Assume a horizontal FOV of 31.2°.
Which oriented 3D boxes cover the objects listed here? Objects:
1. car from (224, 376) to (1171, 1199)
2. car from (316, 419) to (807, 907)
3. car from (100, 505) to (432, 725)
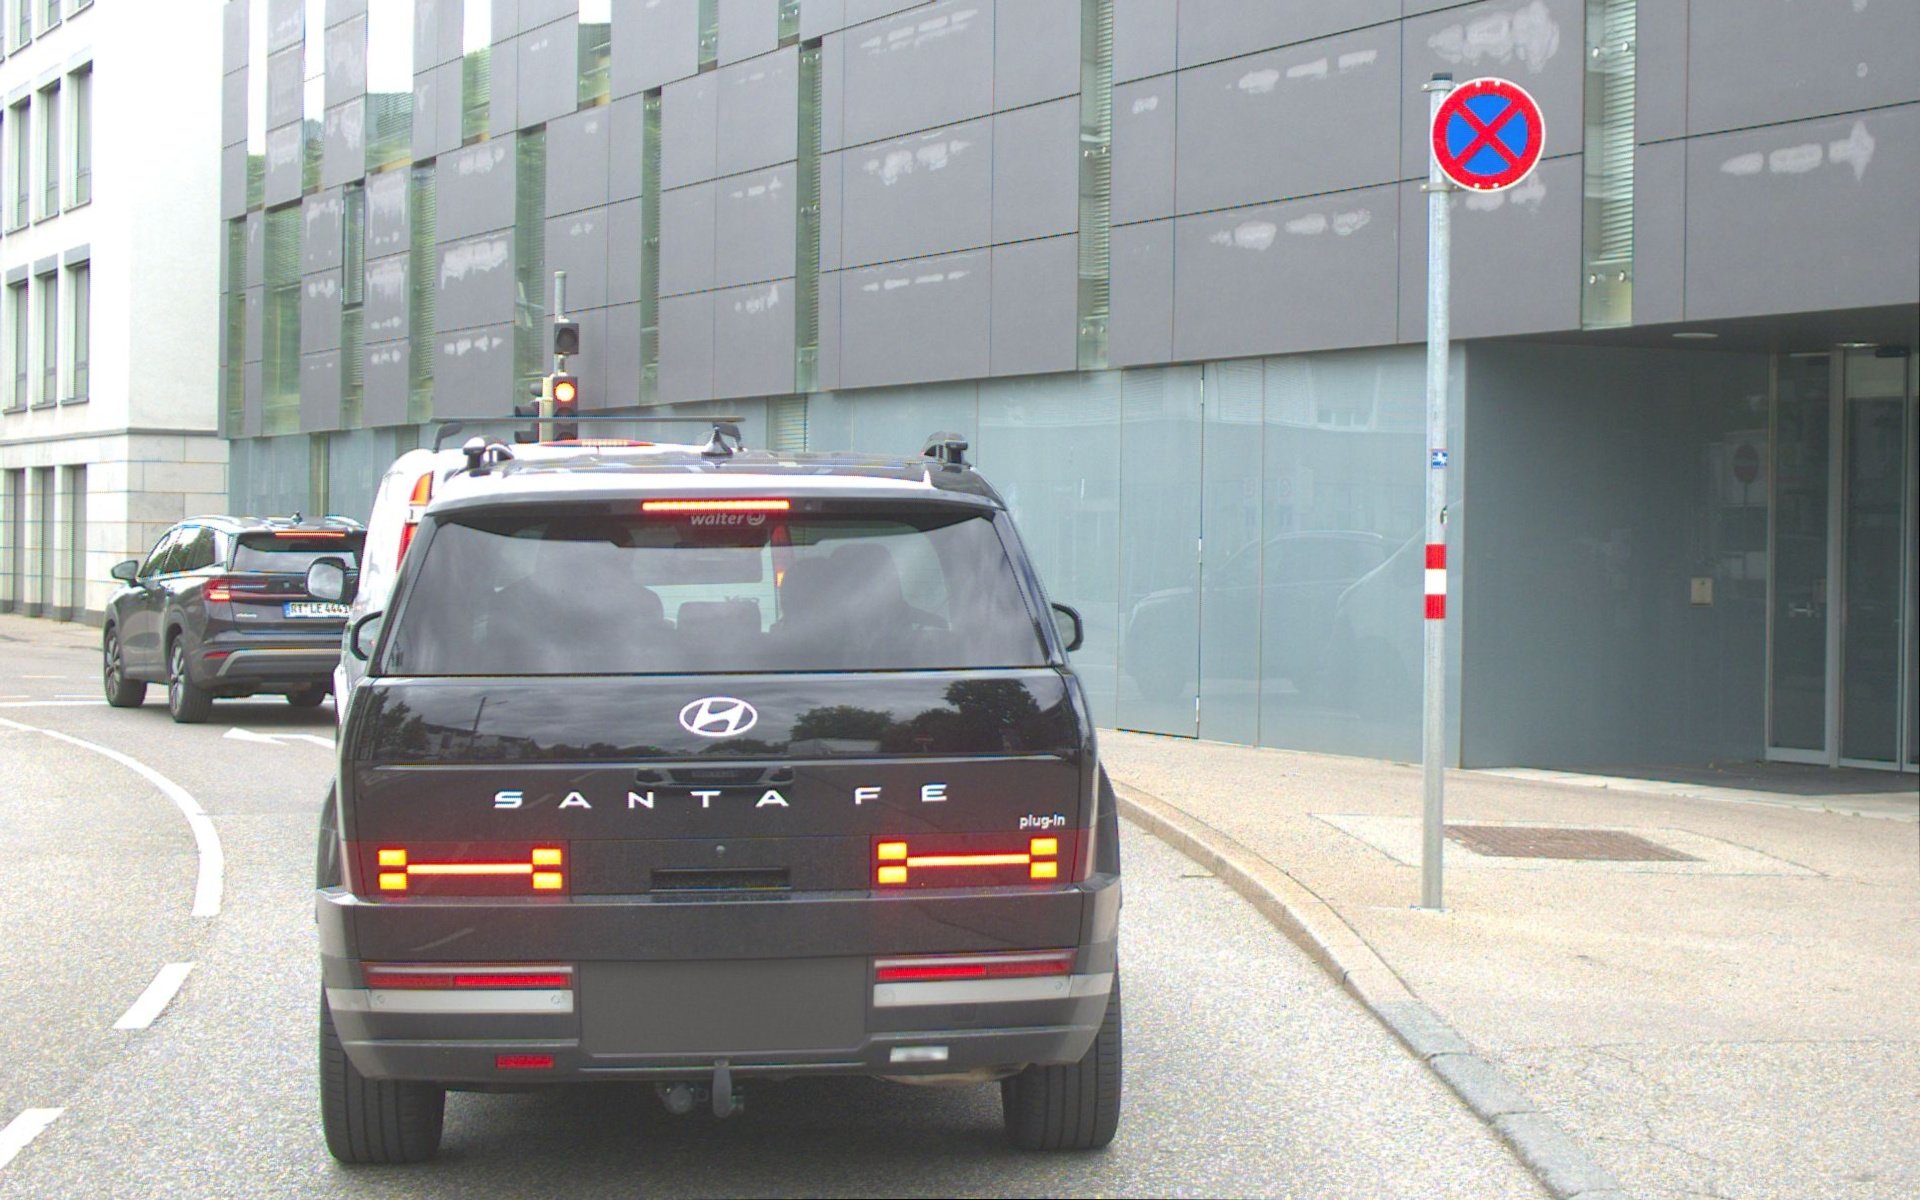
[{"bbox_3d":[-0.685,0.388,9.303,1.915,1.719,4.171,2,1,-4],"label":"car"},{"bbox_3d":[-2.067,0.206,16.622,1.855,2.026,4.439,0,1,-13],"label":"car"},{"bbox_3d":[-5.840,0.084,28.536,1.847,1.671,4.376,-1,1,-23],"label":"car"}]
